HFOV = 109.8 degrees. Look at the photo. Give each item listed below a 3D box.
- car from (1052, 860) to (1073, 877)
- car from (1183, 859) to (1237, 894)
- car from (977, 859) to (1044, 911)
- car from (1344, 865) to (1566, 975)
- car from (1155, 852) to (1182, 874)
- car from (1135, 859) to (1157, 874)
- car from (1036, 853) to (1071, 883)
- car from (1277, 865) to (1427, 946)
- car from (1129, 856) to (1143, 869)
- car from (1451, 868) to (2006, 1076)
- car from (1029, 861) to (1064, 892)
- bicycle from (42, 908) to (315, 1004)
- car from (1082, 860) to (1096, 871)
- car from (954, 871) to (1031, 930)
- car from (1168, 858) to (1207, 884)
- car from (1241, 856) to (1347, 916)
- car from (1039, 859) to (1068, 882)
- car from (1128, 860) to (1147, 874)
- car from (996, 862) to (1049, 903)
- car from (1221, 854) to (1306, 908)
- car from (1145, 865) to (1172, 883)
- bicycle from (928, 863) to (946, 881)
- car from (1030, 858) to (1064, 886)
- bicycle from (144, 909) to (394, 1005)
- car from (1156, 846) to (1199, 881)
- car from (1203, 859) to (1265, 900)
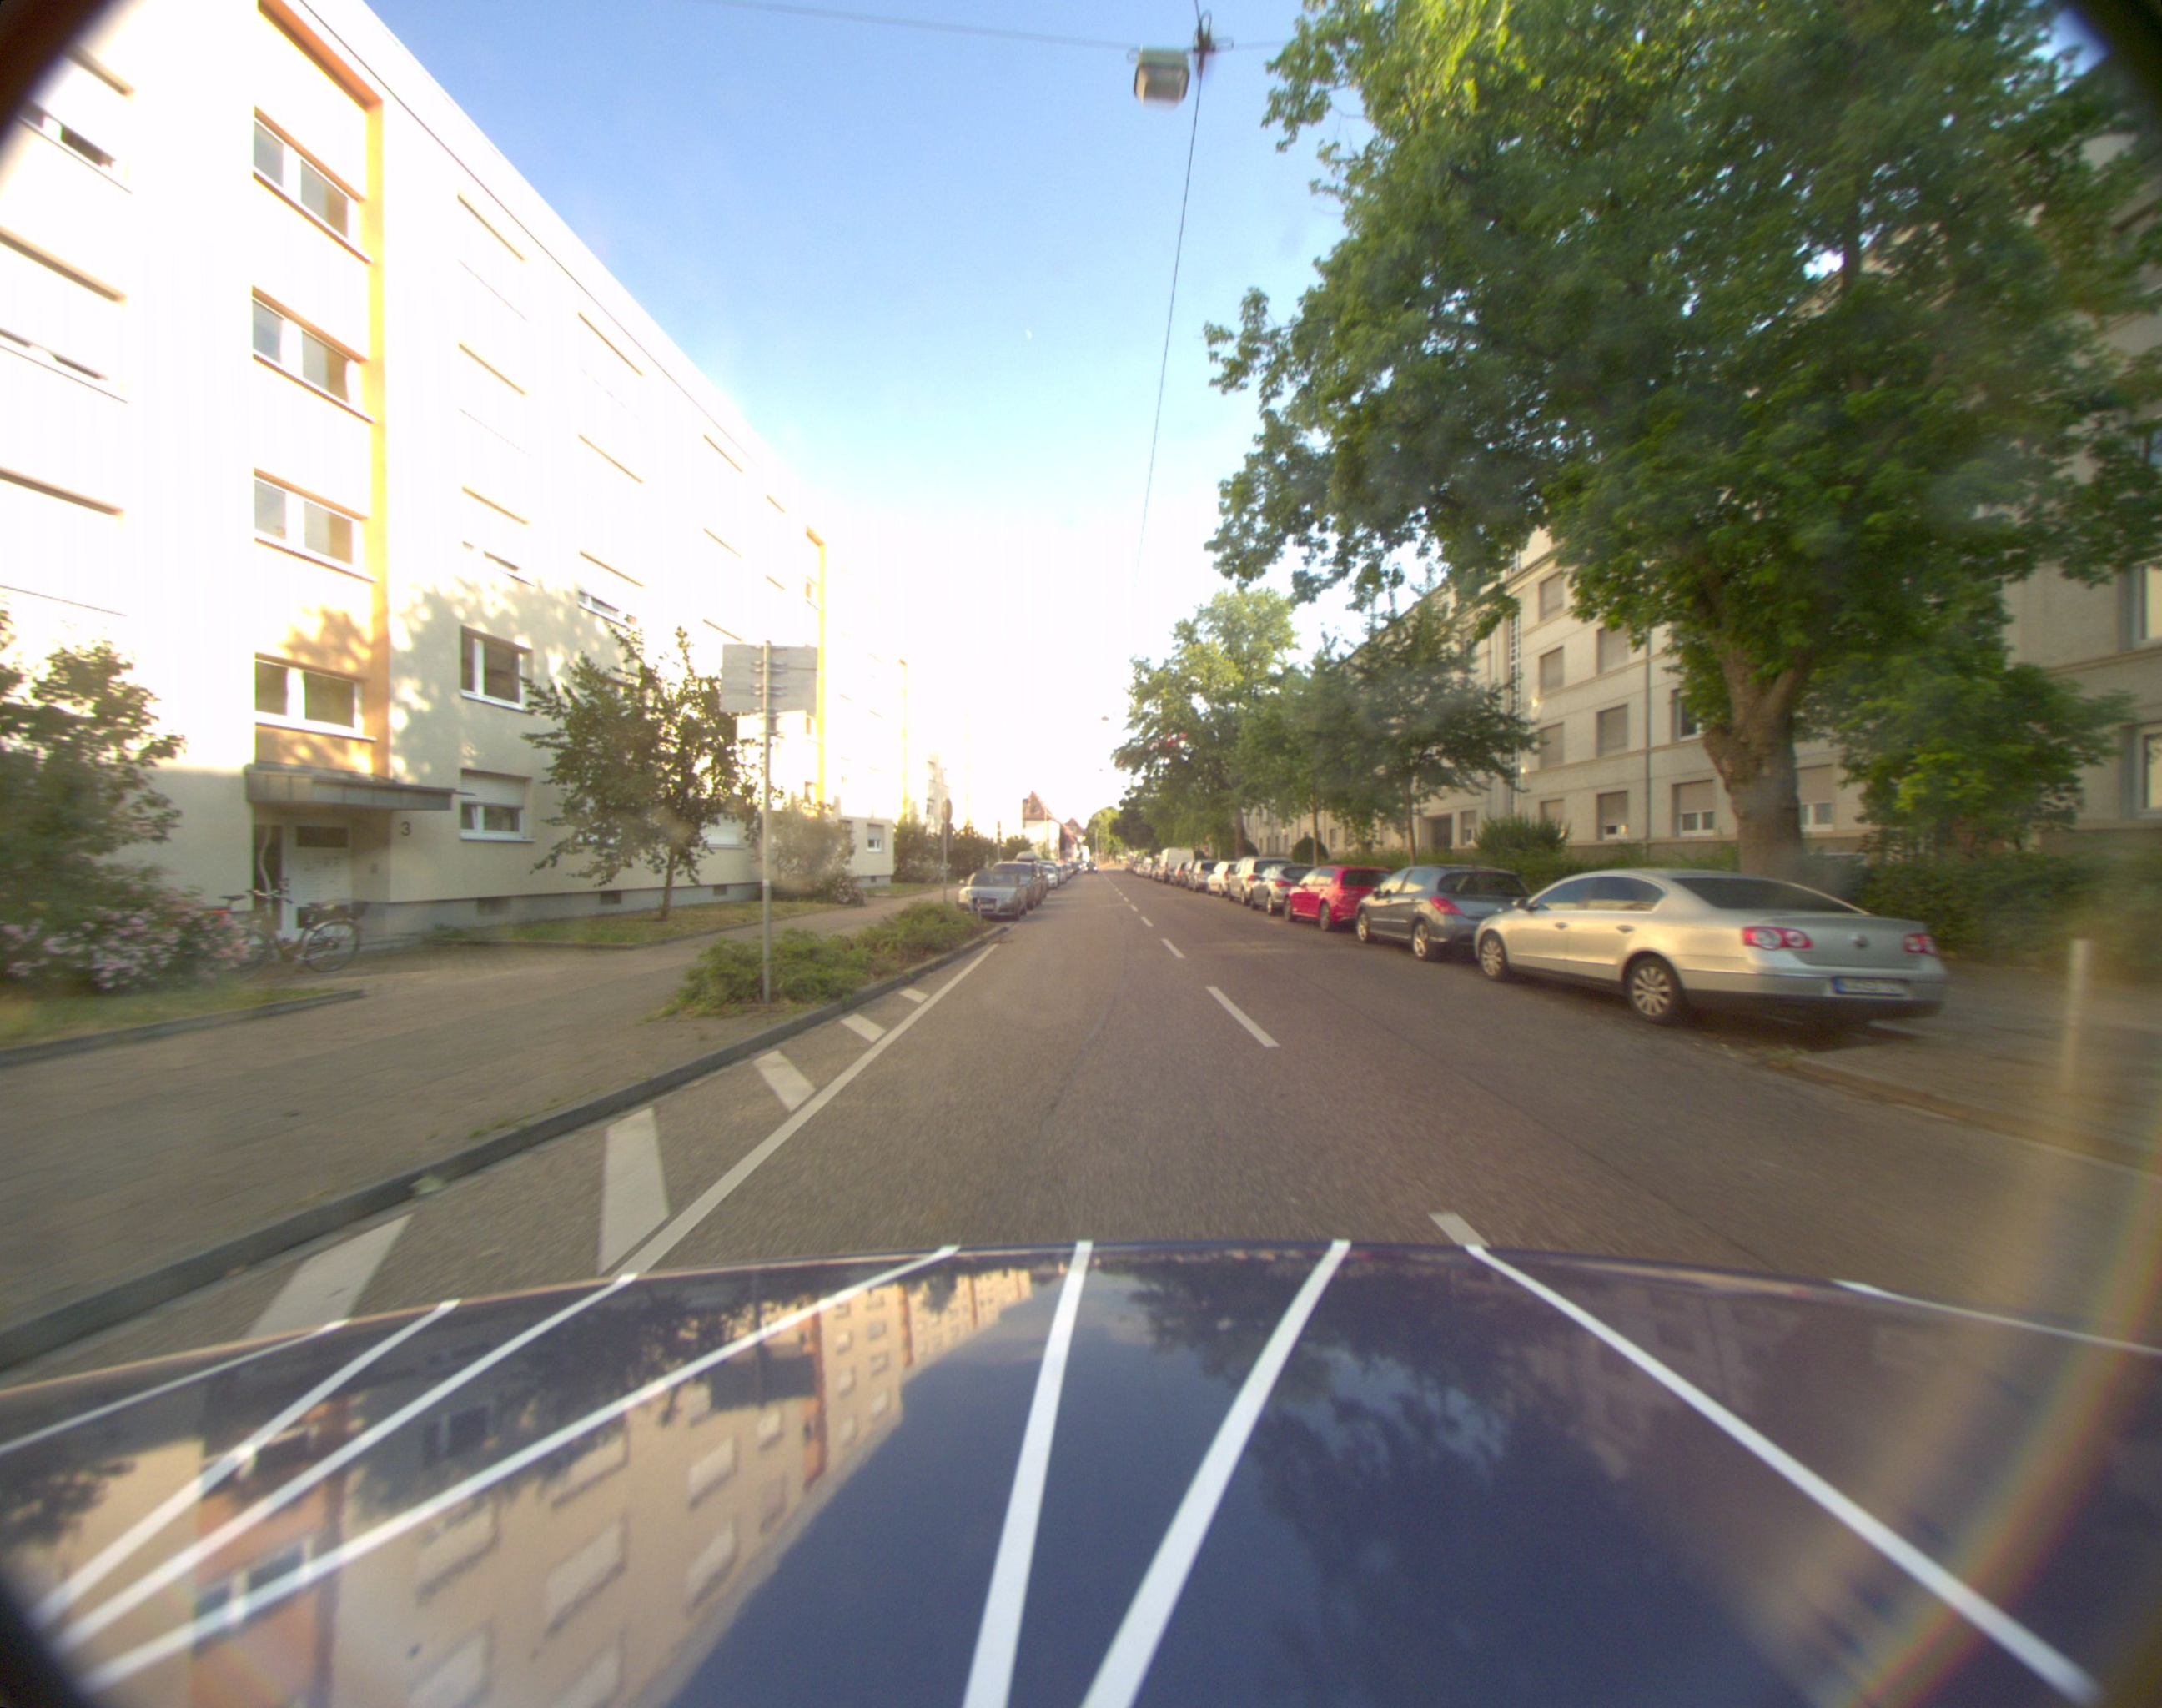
[{"bbox_3d":[-1.811,1.409,73.046,1.878,1.434,3.999,-2,0,-1],"label":"car"},{"bbox_3d":[6.473,1.090,38.777,1.875,1.549,5.057,4,-1,1],"label":"car"},{"bbox_3d":[-2.456,1.038,27.564,1.932,1.649,4.677,0,1,1],"label":"car"},{"bbox_3d":[5.946,0.960,12.686,1.708,1.431,4.128,0,1,1],"label":"car"},{"bbox_3d":[7.012,0.738,61.346,1.711,1.564,3.820,5,0,1],"label":"car"},{"bbox_3d":[7.383,1.445,87.119,2.009,1.543,4.470,-2,1,-1],"label":"car"},{"bbox_3d":[-1.849,1.022,51.984,2.029,1.738,4.769,4,-3,1],"label":"car"},{"bbox_3d":[6.107,1.101,17.657,1.876,1.549,3.999,1,0,-3],"label":"car"},{"bbox_3d":[8.635,1.342,119.062,1.846,1.885,4.487,-4,1,2],"label":"car"},{"bbox_3d":[5.974,0.920,8.009,1.774,1.344,4.709,-2,1,-1],"label":"car"},{"bbox_3d":[-1.786,1.152,40.104,1.610,1.486,4.041,-1,1,1],"label":"car"},{"bbox_3d":[-10.830,1.176,9.283,0.638,0.919,2.230,-2,-2,1],"label":"bicycle"},{"bbox_3d":[1.146,1.553,103.235,1.775,1.491,3.674,-1,-1,2],"label":"car"},{"bbox_3d":[-2.518,1.297,22.543,1.745,1.465,4.000,0,1,1],"label":"car"},{"bbox_3d":[6.832,1.067,49.197,1.962,1.549,4.345,1,1,0],"label":"car"},{"bbox_3d":[6.112,0.991,22.413,1.875,1.548,4.500,-1,-4,1],"label":"car"},{"bbox_3d":[-1.993,1.229,56.865,1.841,1.493,4.172,2,1,2],"label":"car"},{"bbox_3d":[7.638,1.724,102.761,1.878,1.749,4.688,-3,0,-2],"label":"car"},{"bbox_3d":[-2.488,1.186,33.084,1.902,1.641,4.343,-1,0,1],"label":"car"},{"bbox_3d":[6.470,0.904,27.542,1.921,1.668,4.973,-2,1,1],"label":"car"},{"bbox_3d":[7.327,1.868,72.139,1.878,1.347,4.652,-7,1,-1],"label":"car"},{"bbox_3d":[-8.848,1.122,46.813,0.601,1.075,2.394,0,-2,1],"label":"bicycle"},{"bbox_3d":[-2.060,1.081,47.142,1.683,1.407,4.723,5,1,1],"label":"car"},{"bbox_3d":[-9.774,1.191,9.319,0.638,0.919,2.230,-2,-2,1],"label":"bicycle"},{"bbox_3d":[6.946,0.620,55.362,2.364,2.431,6.164,1,1,1],"label":"car"},{"bbox_3d":[6.633,1.065,33.365,1.875,1.549,4.101,3,0,1],"label":"car"}]
